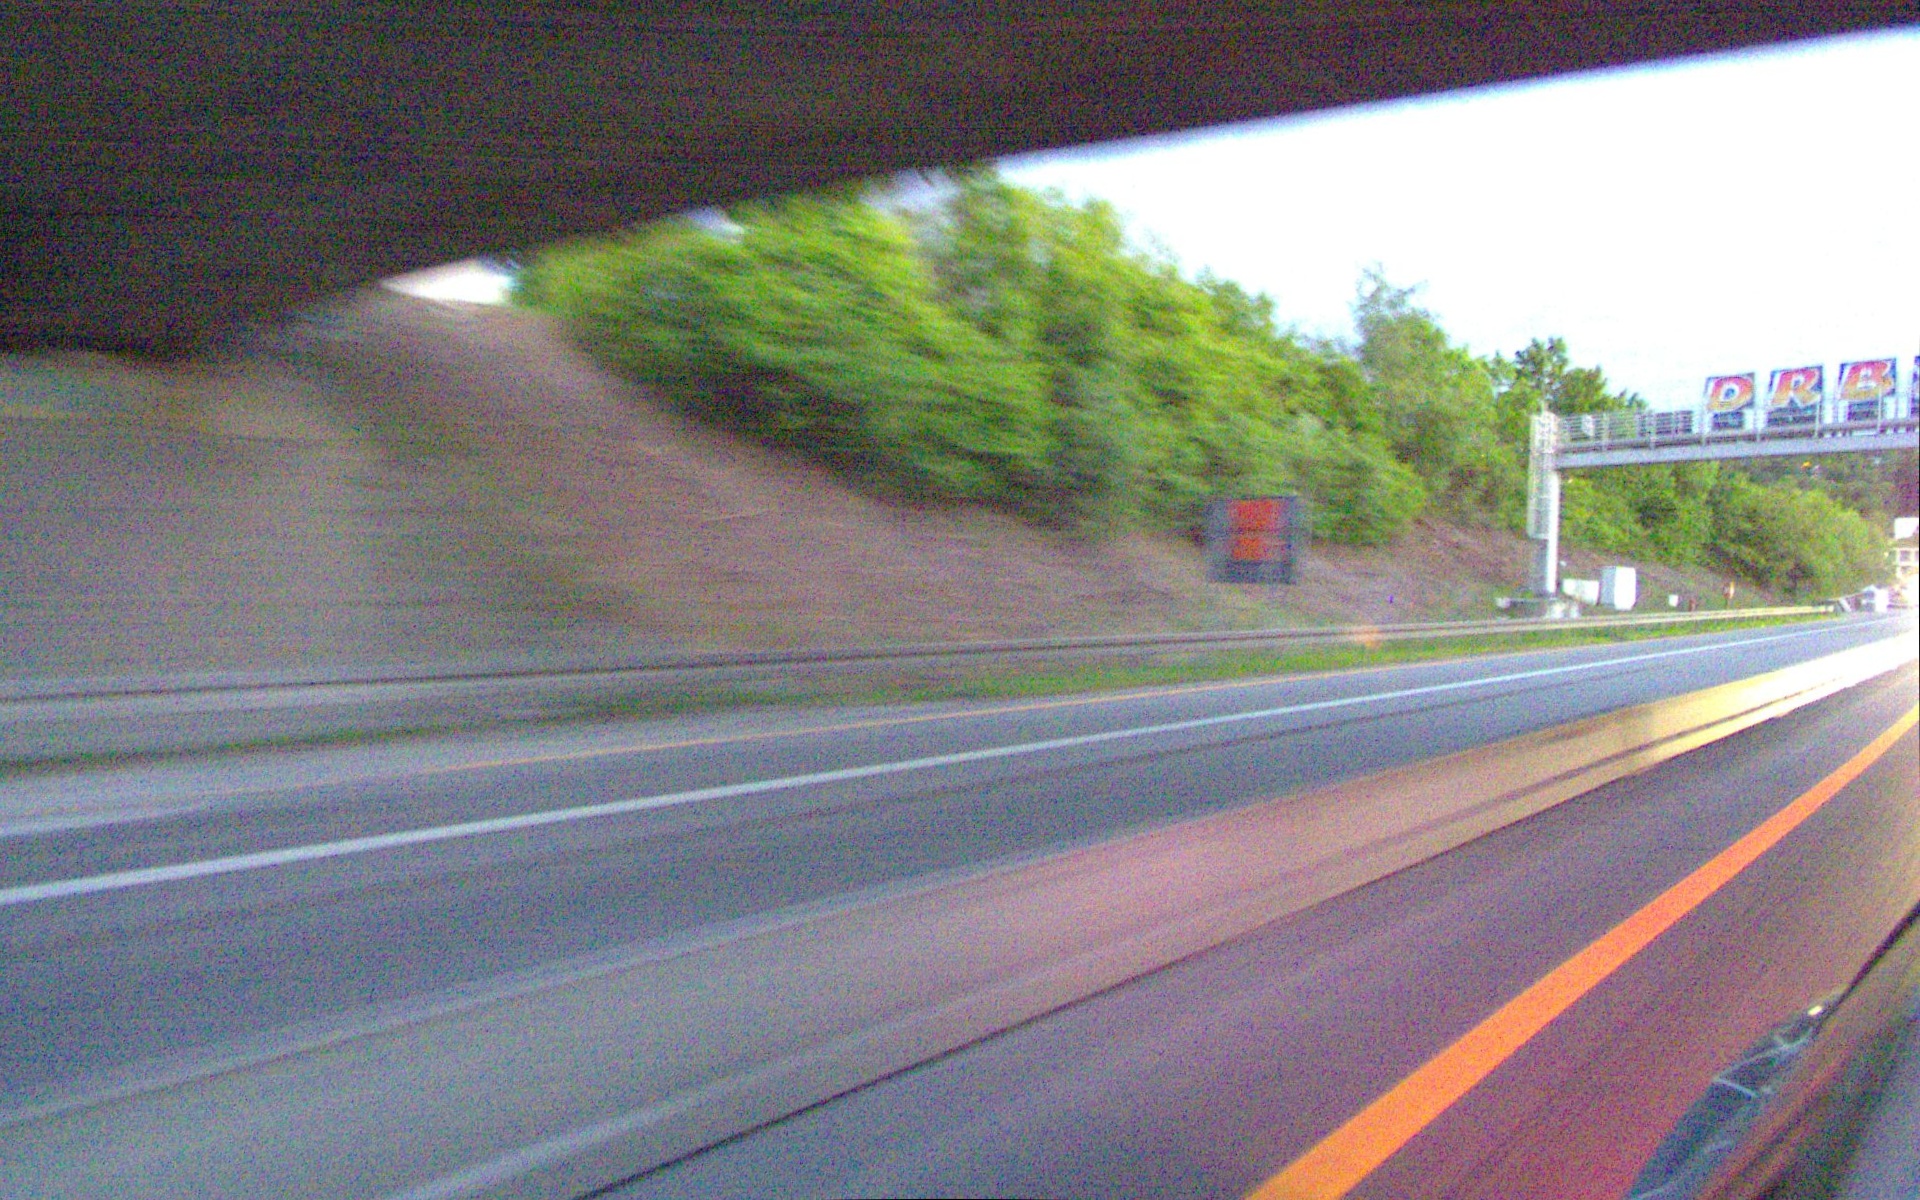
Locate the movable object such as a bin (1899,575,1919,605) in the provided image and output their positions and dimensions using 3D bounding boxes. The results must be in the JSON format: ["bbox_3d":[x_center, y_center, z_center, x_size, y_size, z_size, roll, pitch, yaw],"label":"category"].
[{"bbox_3d":[102.533,-1.059,108.458,2.622,3.146,5.713,2,2,45],"label":"movable object such as a bin"}]

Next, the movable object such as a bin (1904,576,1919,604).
[{"bbox_3d":[118.584,-1.274,125.045,2.565,3.359,5.489,2,2,45],"label":"movable object such as a bin"}]

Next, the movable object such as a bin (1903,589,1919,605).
[{"bbox_3d":[105.867,-0.363,112.027,4.018,1.621,1.995,-1,3,-44],"label":"movable object such as a bin"}]
